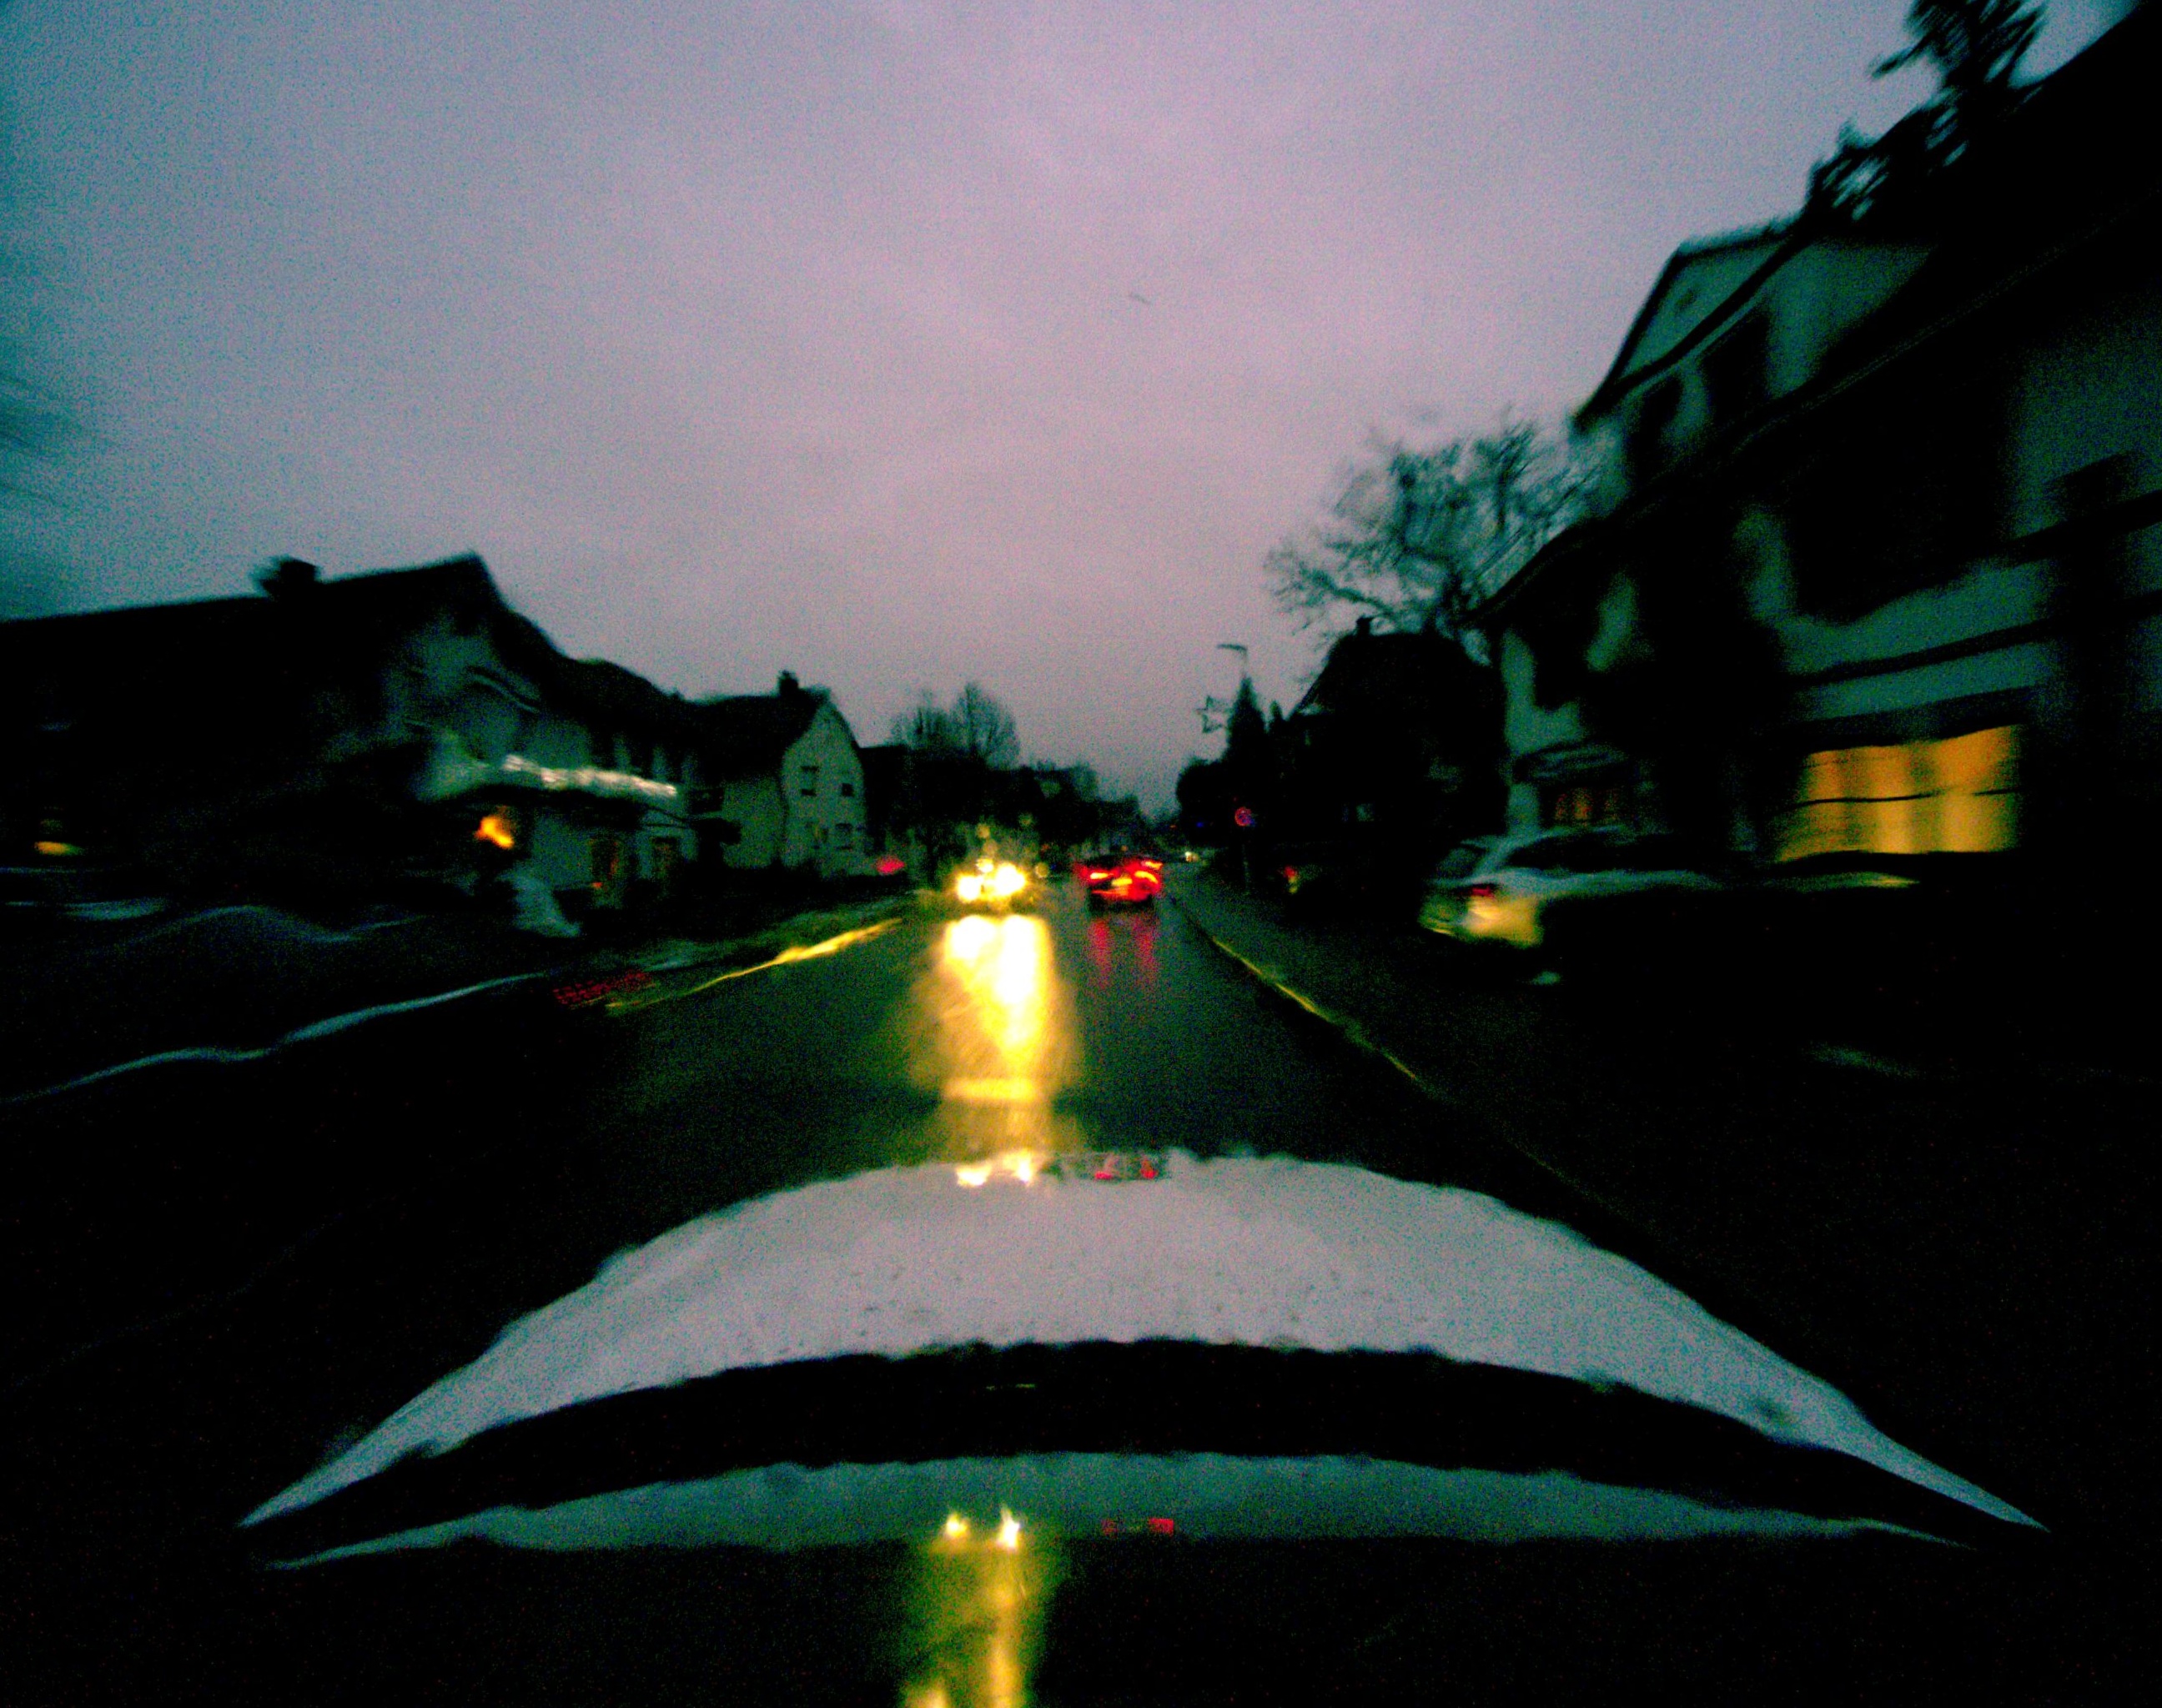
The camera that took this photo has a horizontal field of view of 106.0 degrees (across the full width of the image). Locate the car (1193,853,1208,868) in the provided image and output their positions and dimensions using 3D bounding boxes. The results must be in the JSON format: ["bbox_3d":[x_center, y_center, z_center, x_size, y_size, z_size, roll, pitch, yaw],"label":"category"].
[{"bbox_3d":[17.461,0.977,119.287,1.983,2.013,4.008,-3,0,7],"label":"car"}]

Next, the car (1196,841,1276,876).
[{"bbox_3d":[9.123,0.277,48.280,4.305,1.732,2.002,-4,0,3],"label":"car"}]

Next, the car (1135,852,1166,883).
[{"bbox_3d":[4.777,0.922,56.491,1.985,2.014,4.003,-1,-1,3],"label":"car"}]

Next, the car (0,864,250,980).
[{"bbox_3d":[-17.561,1.167,14.264,4.524,1.800,1.917,-2,-1,10],"label":"car"}]

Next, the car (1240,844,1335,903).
[{"bbox_3d":[6.160,0.532,24.857,1.885,1.554,4.759,-2,0,3],"label":"car"}]

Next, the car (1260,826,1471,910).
[{"bbox_3d":[6.319,0.325,18.492,4.086,1.706,2.001,-1,-1,1],"label":"car"}]

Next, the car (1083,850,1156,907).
[{"bbox_3d":[1.091,0.667,24.359,1.987,1.525,4.000,-1,0,1],"label":"car"}]

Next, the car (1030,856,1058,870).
[{"bbox_3d":[-3.809,0.910,84.953,1.768,1.366,4.016,-1,-1,15],"label":"car"}]

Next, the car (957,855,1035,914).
[{"bbox_3d":[-2.626,0.893,26.023,1.807,1.633,4.227,-3,0,2],"label":"car"}]

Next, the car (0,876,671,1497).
[{"bbox_3d":[-3.486,0.898,2.819,1.697,1.441,4.426,-4,0,2],"label":"car"}]

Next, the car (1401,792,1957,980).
[{"bbox_3d":[6.376,0.348,9.254,4.709,1.629,1.911,-4,0,7],"label":"car"}]
